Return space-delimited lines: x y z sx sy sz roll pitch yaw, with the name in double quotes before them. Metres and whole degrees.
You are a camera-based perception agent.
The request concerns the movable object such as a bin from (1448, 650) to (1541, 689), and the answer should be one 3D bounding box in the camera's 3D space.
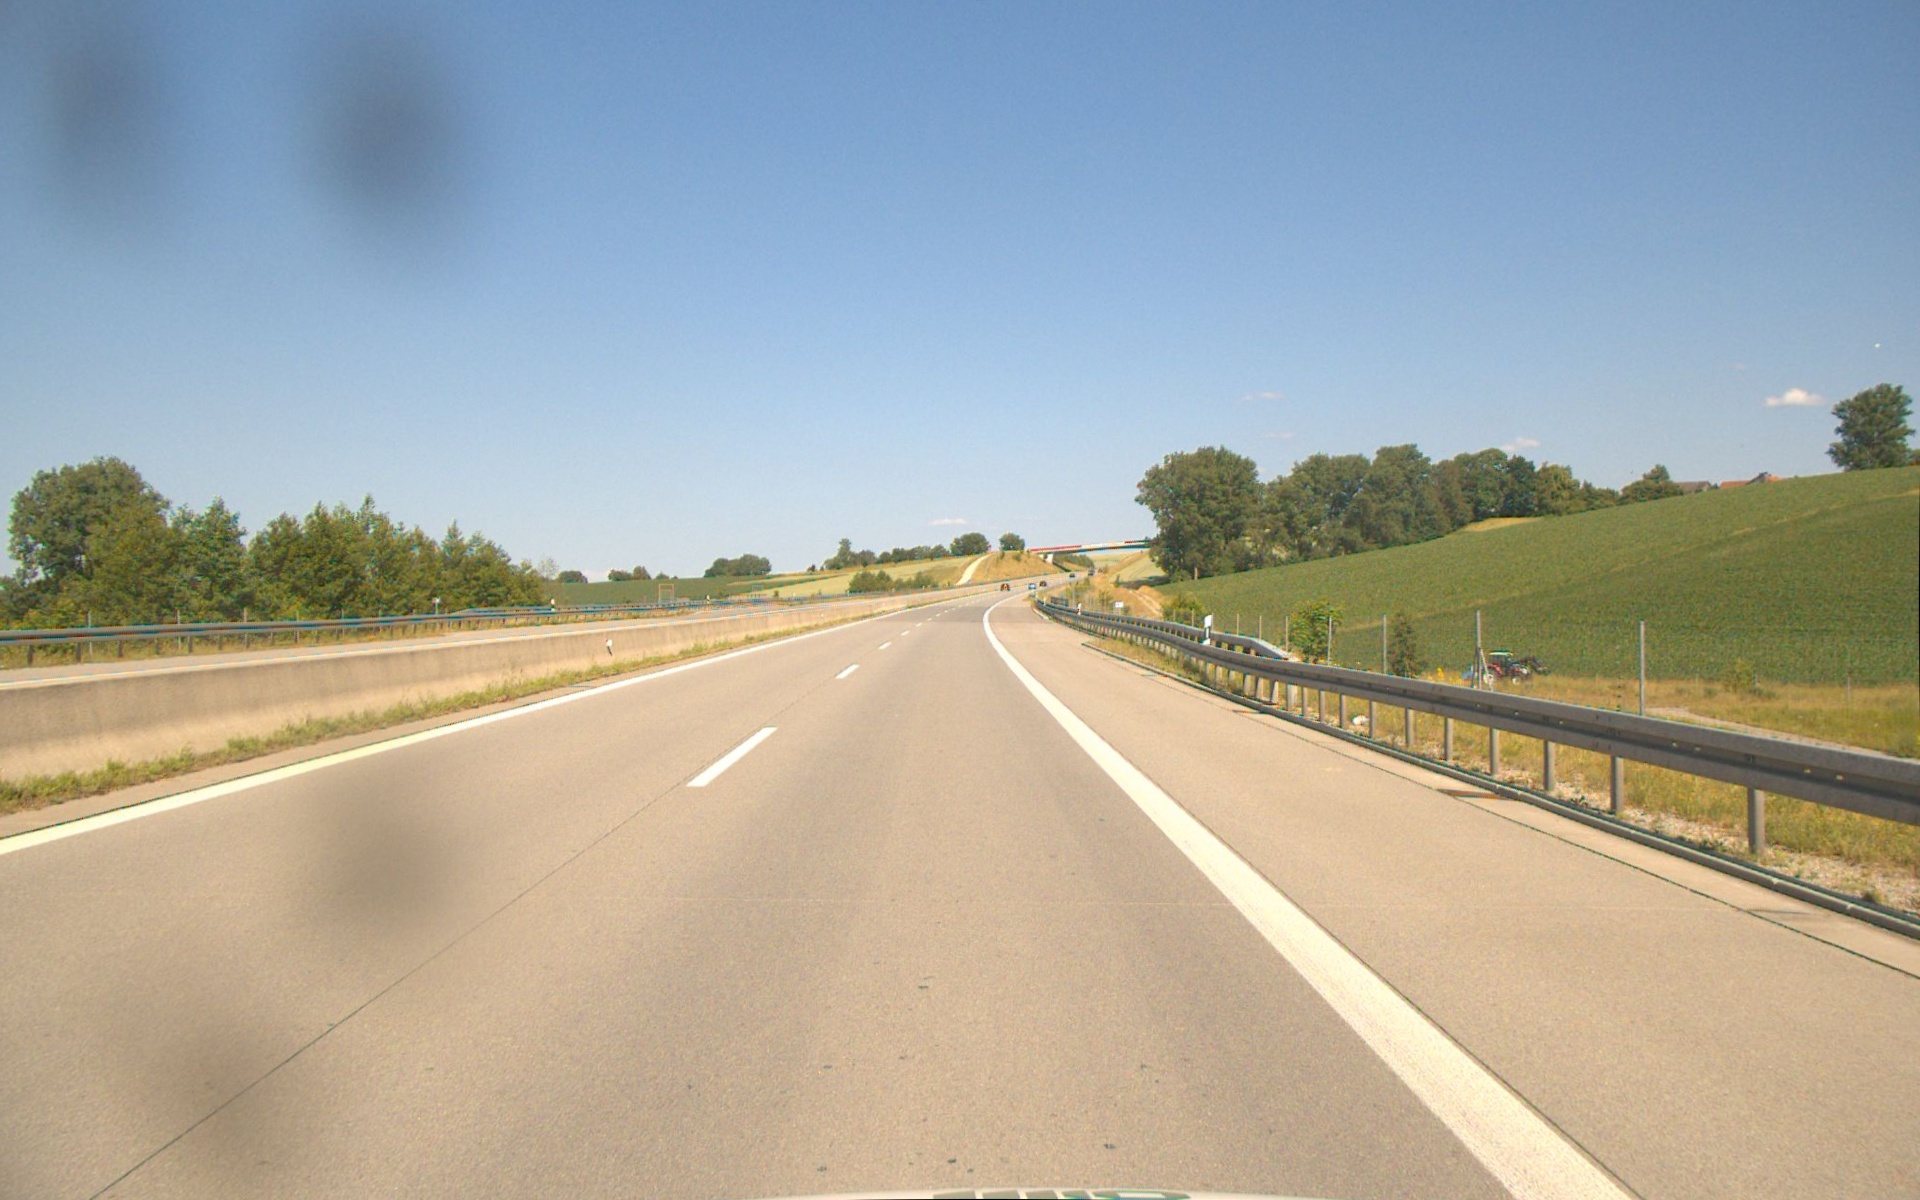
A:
"movable object such as a bin" 41.640 5.391 128.863 6.118 2.819 3.268 0 -1 41
